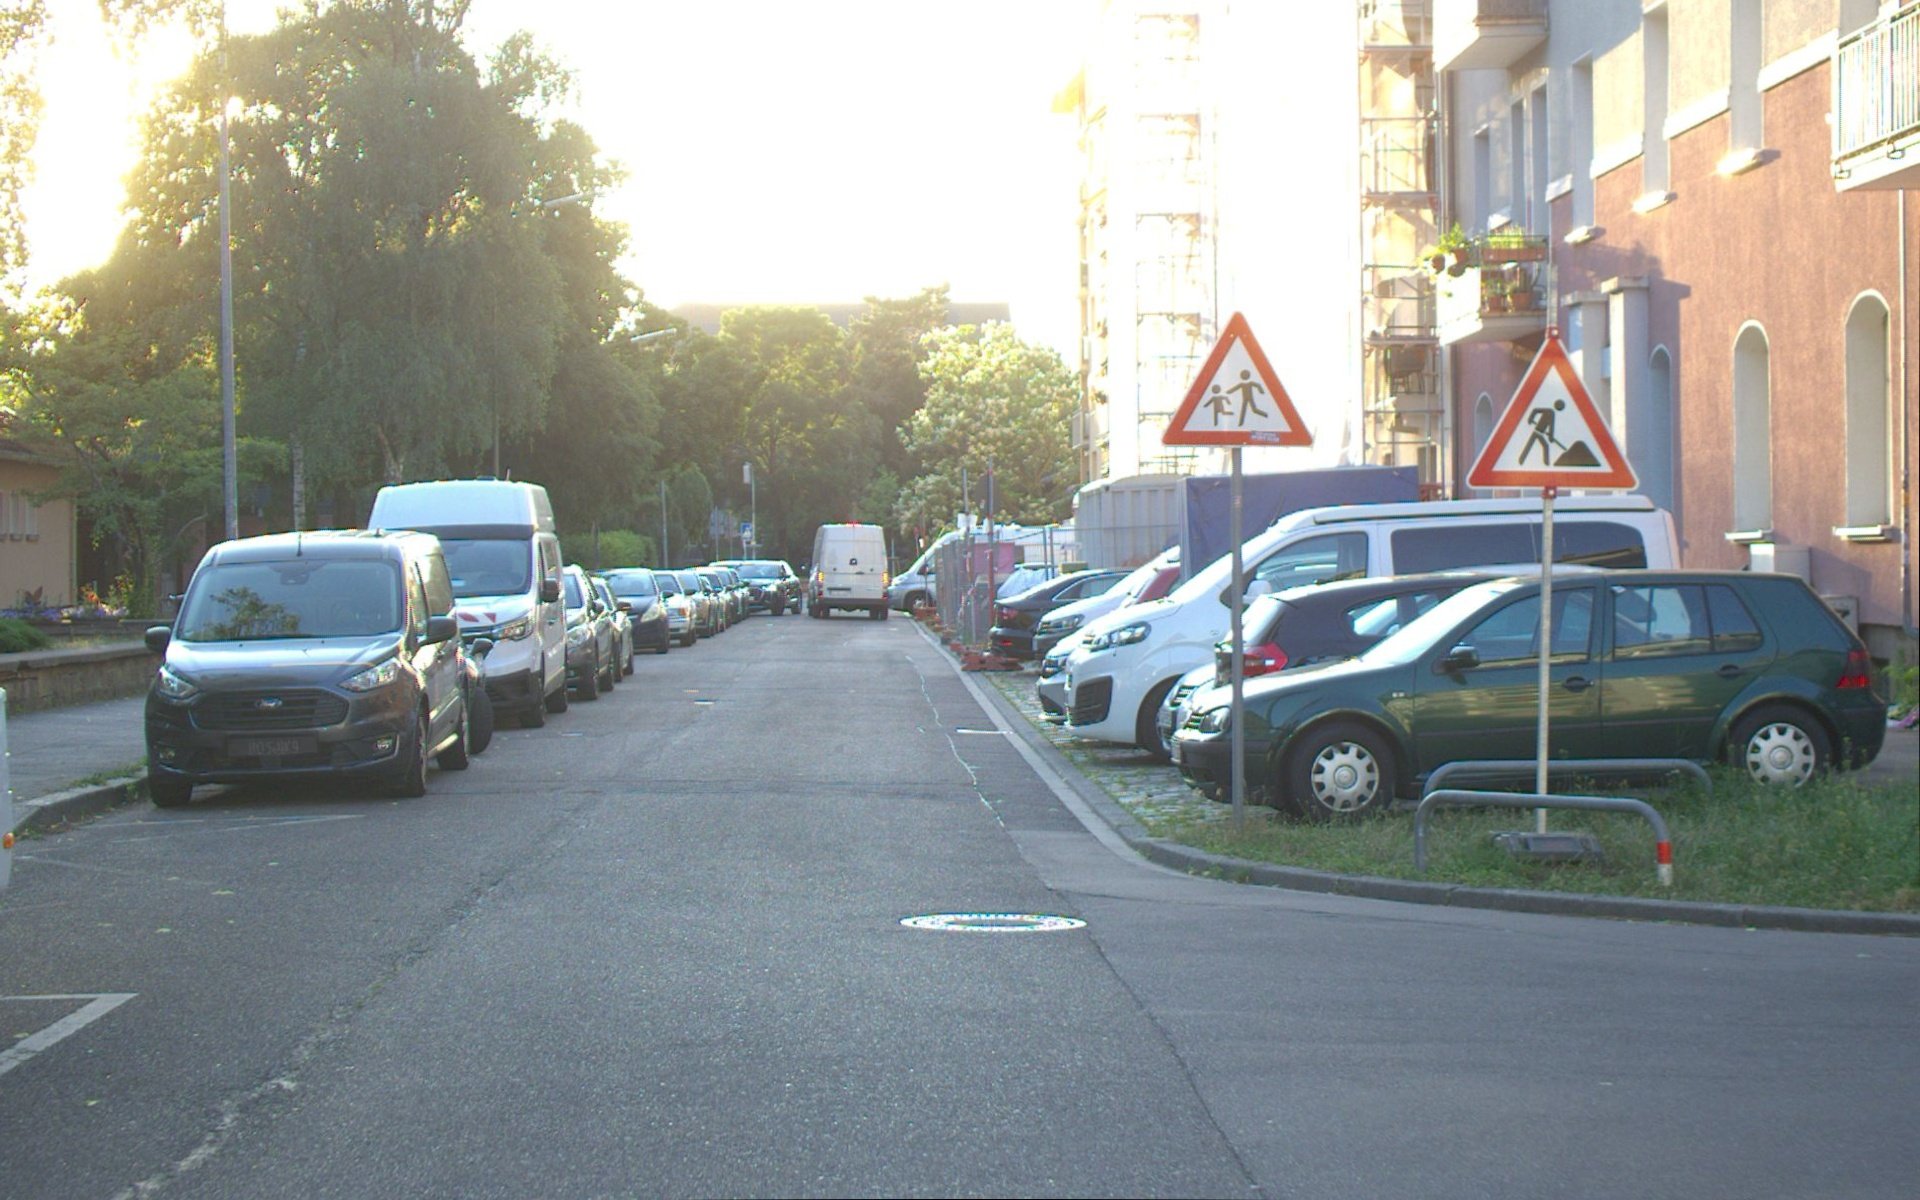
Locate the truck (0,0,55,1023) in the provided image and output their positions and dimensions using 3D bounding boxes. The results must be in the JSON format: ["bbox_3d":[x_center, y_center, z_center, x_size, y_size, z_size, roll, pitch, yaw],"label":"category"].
[{"bbox_3d":[-4.135,-0.304,6.662,2.525,3.342,8.018,-3,1,0],"label":"truck"}]

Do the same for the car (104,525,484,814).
[{"bbox_3d":[-4.549,0.390,24.213,1.910,1.782,4.950,-1,1,-3],"label":"car"}]

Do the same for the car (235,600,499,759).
[{"bbox_3d":[-4.950,0.629,29.164,1.993,1.185,4.037,0,1,-7],"label":"car"}]

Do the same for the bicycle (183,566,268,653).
[{"bbox_3d":[-8.455,0.096,39.643,0.543,0.961,1.955,1,1,0],"label":"bicycle"}]

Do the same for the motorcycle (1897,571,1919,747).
[{"bbox_3d":[7.144,0.430,23.422,0.742,1.231,2.653,0,1,-1],"label":"motorcycle"}]

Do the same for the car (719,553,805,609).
[{"bbox_3d":[-5.754,-0.571,100.485,1.804,1.564,4.564,-1,1,6],"label":"car"}]

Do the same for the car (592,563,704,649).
[{"bbox_3d":[-5.781,0.087,64.126,1.782,1.440,4.749,-3,1,-2],"label":"car"}]

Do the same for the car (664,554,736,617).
[{"bbox_3d":[-6.346,-0.381,84.115,1.601,1.426,3.804,-3,1,-3],"label":"car"}]

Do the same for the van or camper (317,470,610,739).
[{"bbox_3d":[-4.852,-0.015,34.466,1.993,2.448,6.083,0,1,1],"label":"van or camper"}]

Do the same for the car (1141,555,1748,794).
[{"bbox_3d":[3.393,0.494,24.631,3.986,1.612,2.000,0,1,-3],"label":"car"}]

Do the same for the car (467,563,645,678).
[{"bbox_3d":[-5.413,0.242,46.510,1.993,1.448,4.288,0,1,-1],"label":"car"}]

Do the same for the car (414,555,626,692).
[{"bbox_3d":[-5.141,0.230,40.763,1.993,1.514,4.789,0,1,-1],"label":"car"}]

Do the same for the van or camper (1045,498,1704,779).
[{"bbox_3d":[3.145,0.265,26.827,4.833,2.089,2.041,0,1,-2],"label":"van or camper"}]

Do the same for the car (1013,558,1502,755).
[{"bbox_3d":[2.525,0.467,29.924,3.986,1.634,2.000,0,0,-3],"label":"car"}]

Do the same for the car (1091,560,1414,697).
[{"bbox_3d":[3.526,0.331,41.850,3.691,1.605,1.745,0,1,-4],"label":"car"}]

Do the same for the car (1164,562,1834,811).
[{"bbox_3d":[3.438,0.526,22.479,3.986,1.525,2.000,0,1,-3],"label":"car"}]

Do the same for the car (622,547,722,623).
[{"bbox_3d":[-6.089,-0.345,73.069,1.859,1.532,4.759,-1,1,-2],"label":"car"}]

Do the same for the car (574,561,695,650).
[{"bbox_3d":[-5.547,0.066,58.861,1.993,1.448,4.001,0,1,-5],"label":"car"}]

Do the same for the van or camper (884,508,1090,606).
[{"bbox_3d":[0.764,-1.251,101.139,5.928,2.760,2.110,1,1,-2],"label":"van or camper"}]

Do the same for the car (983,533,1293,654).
[{"bbox_3d":[2.397,-0.103,47.183,4.153,1.610,1.872,0,1,0],"label":"car"}]

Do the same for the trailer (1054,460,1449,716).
[{"bbox_3d":[2.869,-0.140,34.378,3.566,2.329,1.941,-3,1,-4],"label":"trailer"}]

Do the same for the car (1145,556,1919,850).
[{"bbox_3d":[3.228,0.548,19.826,4.101,1.580,1.855,0,1,-5],"label":"car"}]

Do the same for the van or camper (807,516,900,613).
[{"bbox_3d":[-2.953,-1.009,95.864,2.453,2.538,6.083,2,1,-1],"label":"van or camper"}]

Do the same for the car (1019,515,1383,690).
[{"bbox_3d":[3.059,0.004,44.067,4.265,1.973,1.822,-3,2,-9],"label":"car"}]
